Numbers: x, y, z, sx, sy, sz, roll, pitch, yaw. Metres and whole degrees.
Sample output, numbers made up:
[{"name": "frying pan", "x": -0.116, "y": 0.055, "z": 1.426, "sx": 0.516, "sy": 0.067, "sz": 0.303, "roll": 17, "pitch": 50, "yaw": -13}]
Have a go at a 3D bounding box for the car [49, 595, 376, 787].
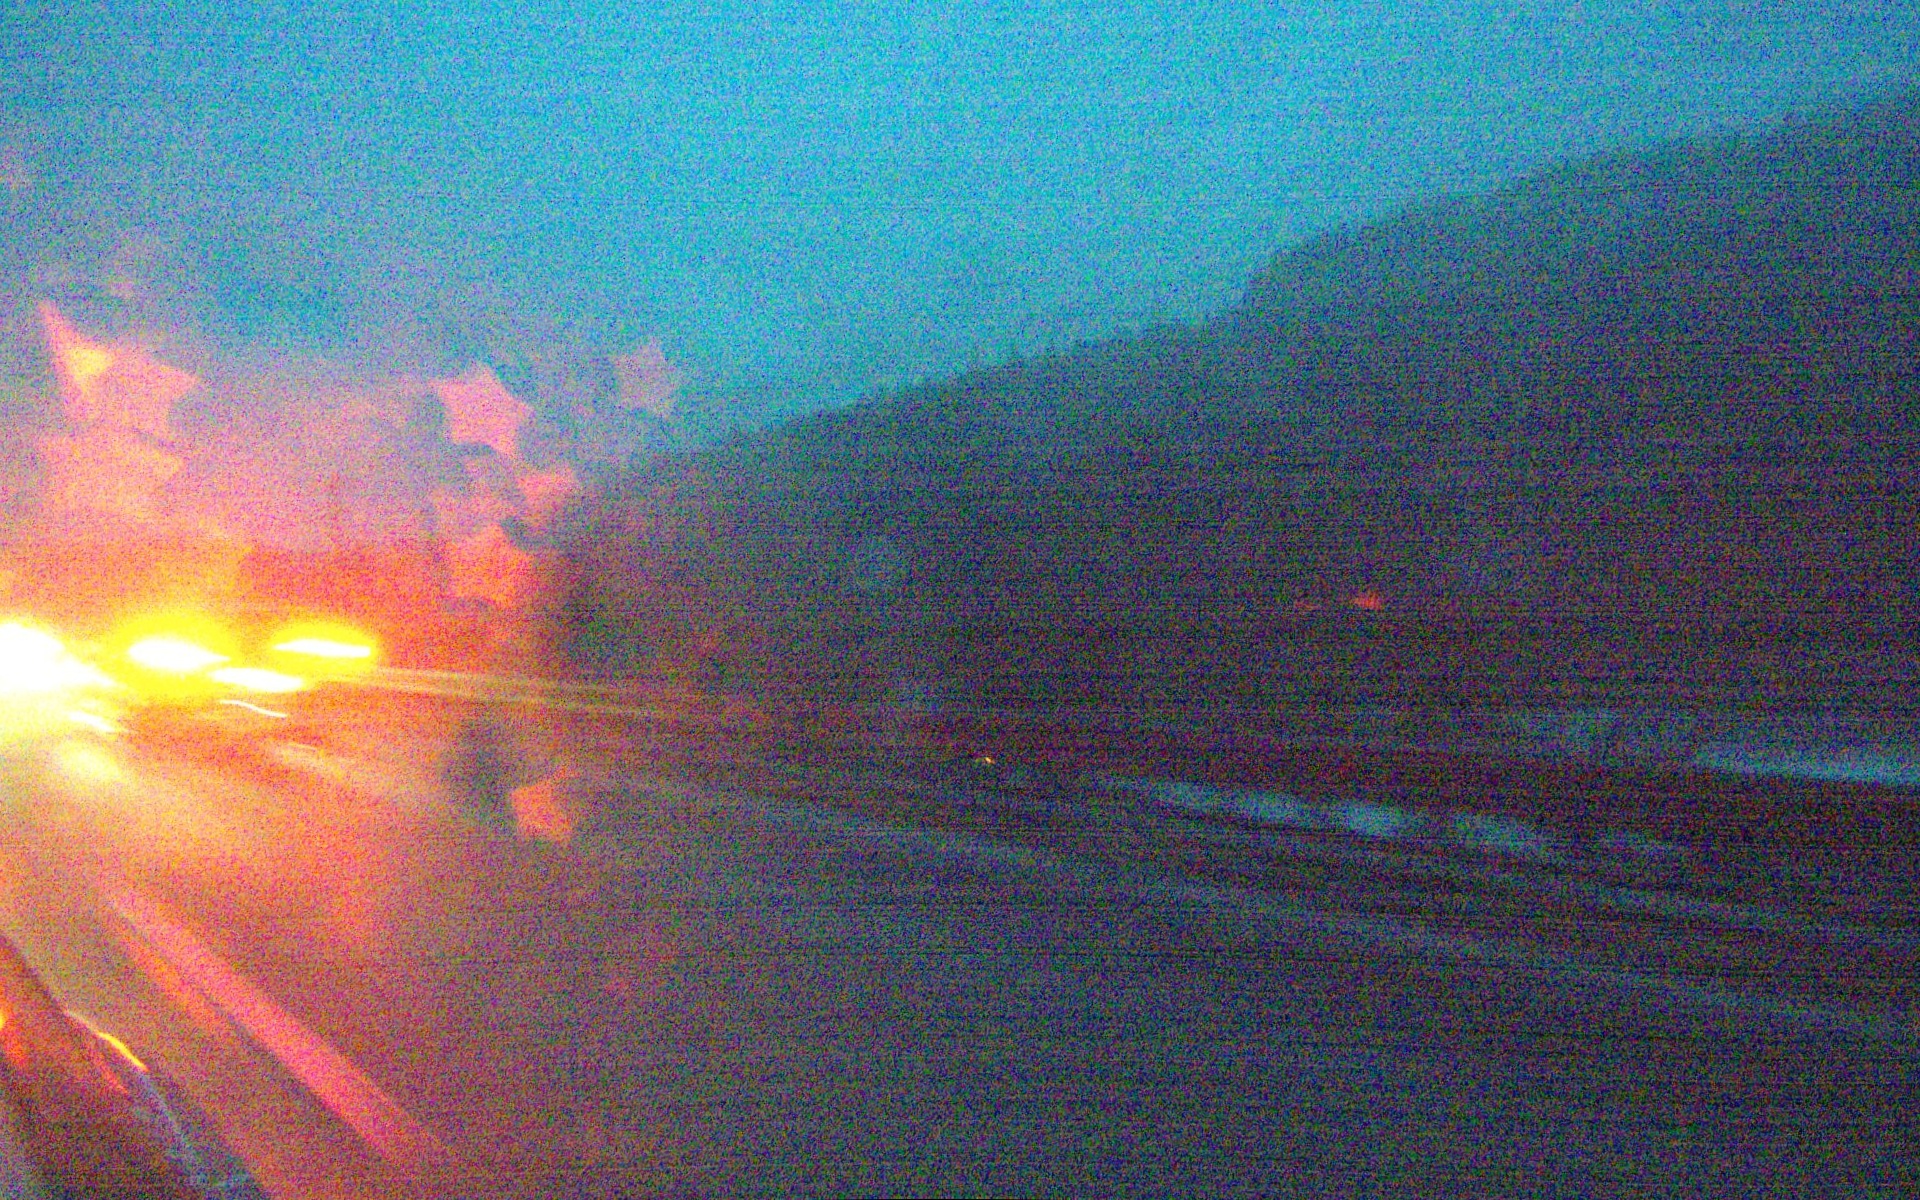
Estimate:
[{"name": "car", "x": -7.624, "y": 0.773, "z": 10.206, "sx": 3.868, "sy": 1.567, "sz": 1.799, "roll": -1, "pitch": -1, "yaw": 40}]
